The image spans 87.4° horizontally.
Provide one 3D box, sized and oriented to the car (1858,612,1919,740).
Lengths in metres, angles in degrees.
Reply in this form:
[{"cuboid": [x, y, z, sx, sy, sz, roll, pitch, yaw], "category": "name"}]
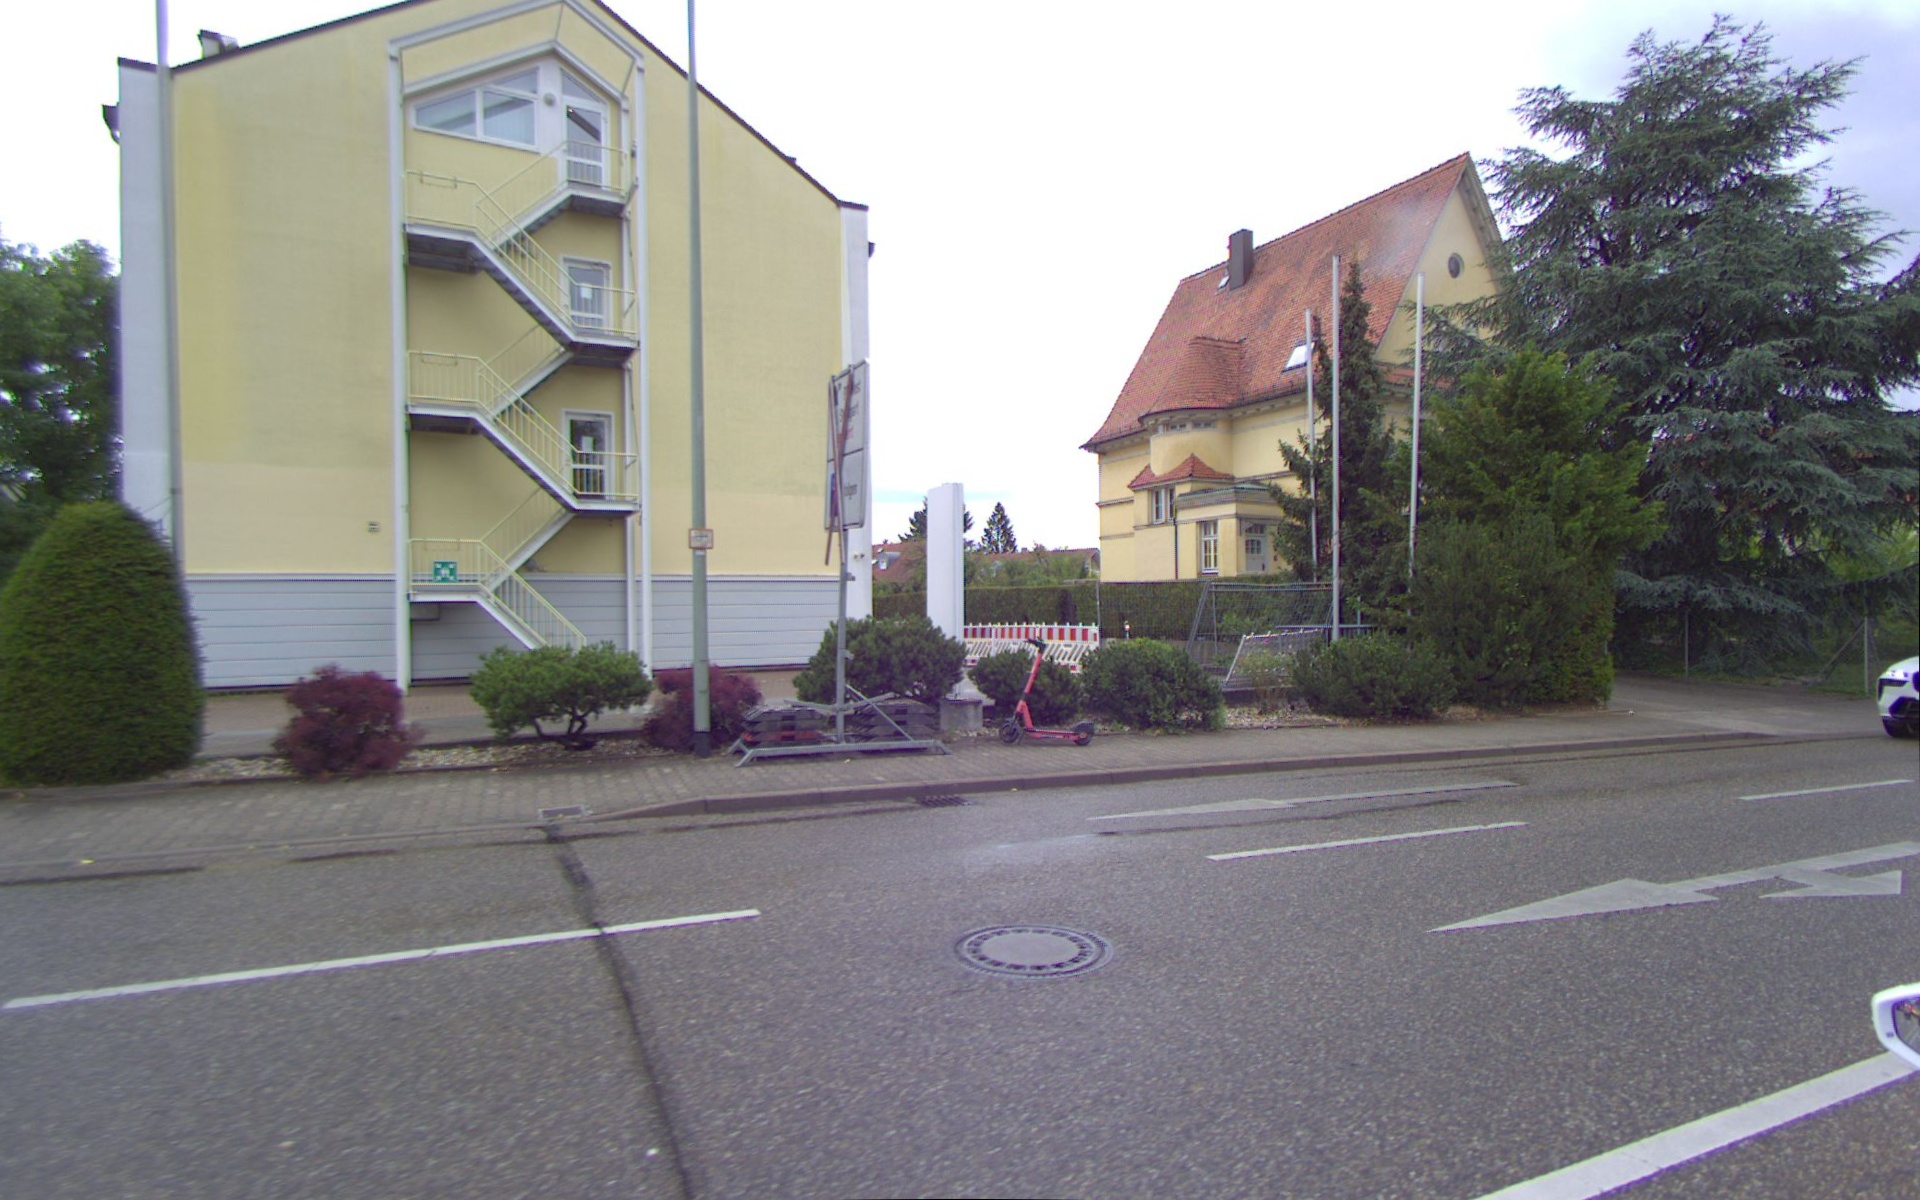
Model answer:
[{"cuboid": [15.735, 1.082, 14.777, 5.074, 1.786, 1.912, 1, -3, -25], "category": "car"}]
